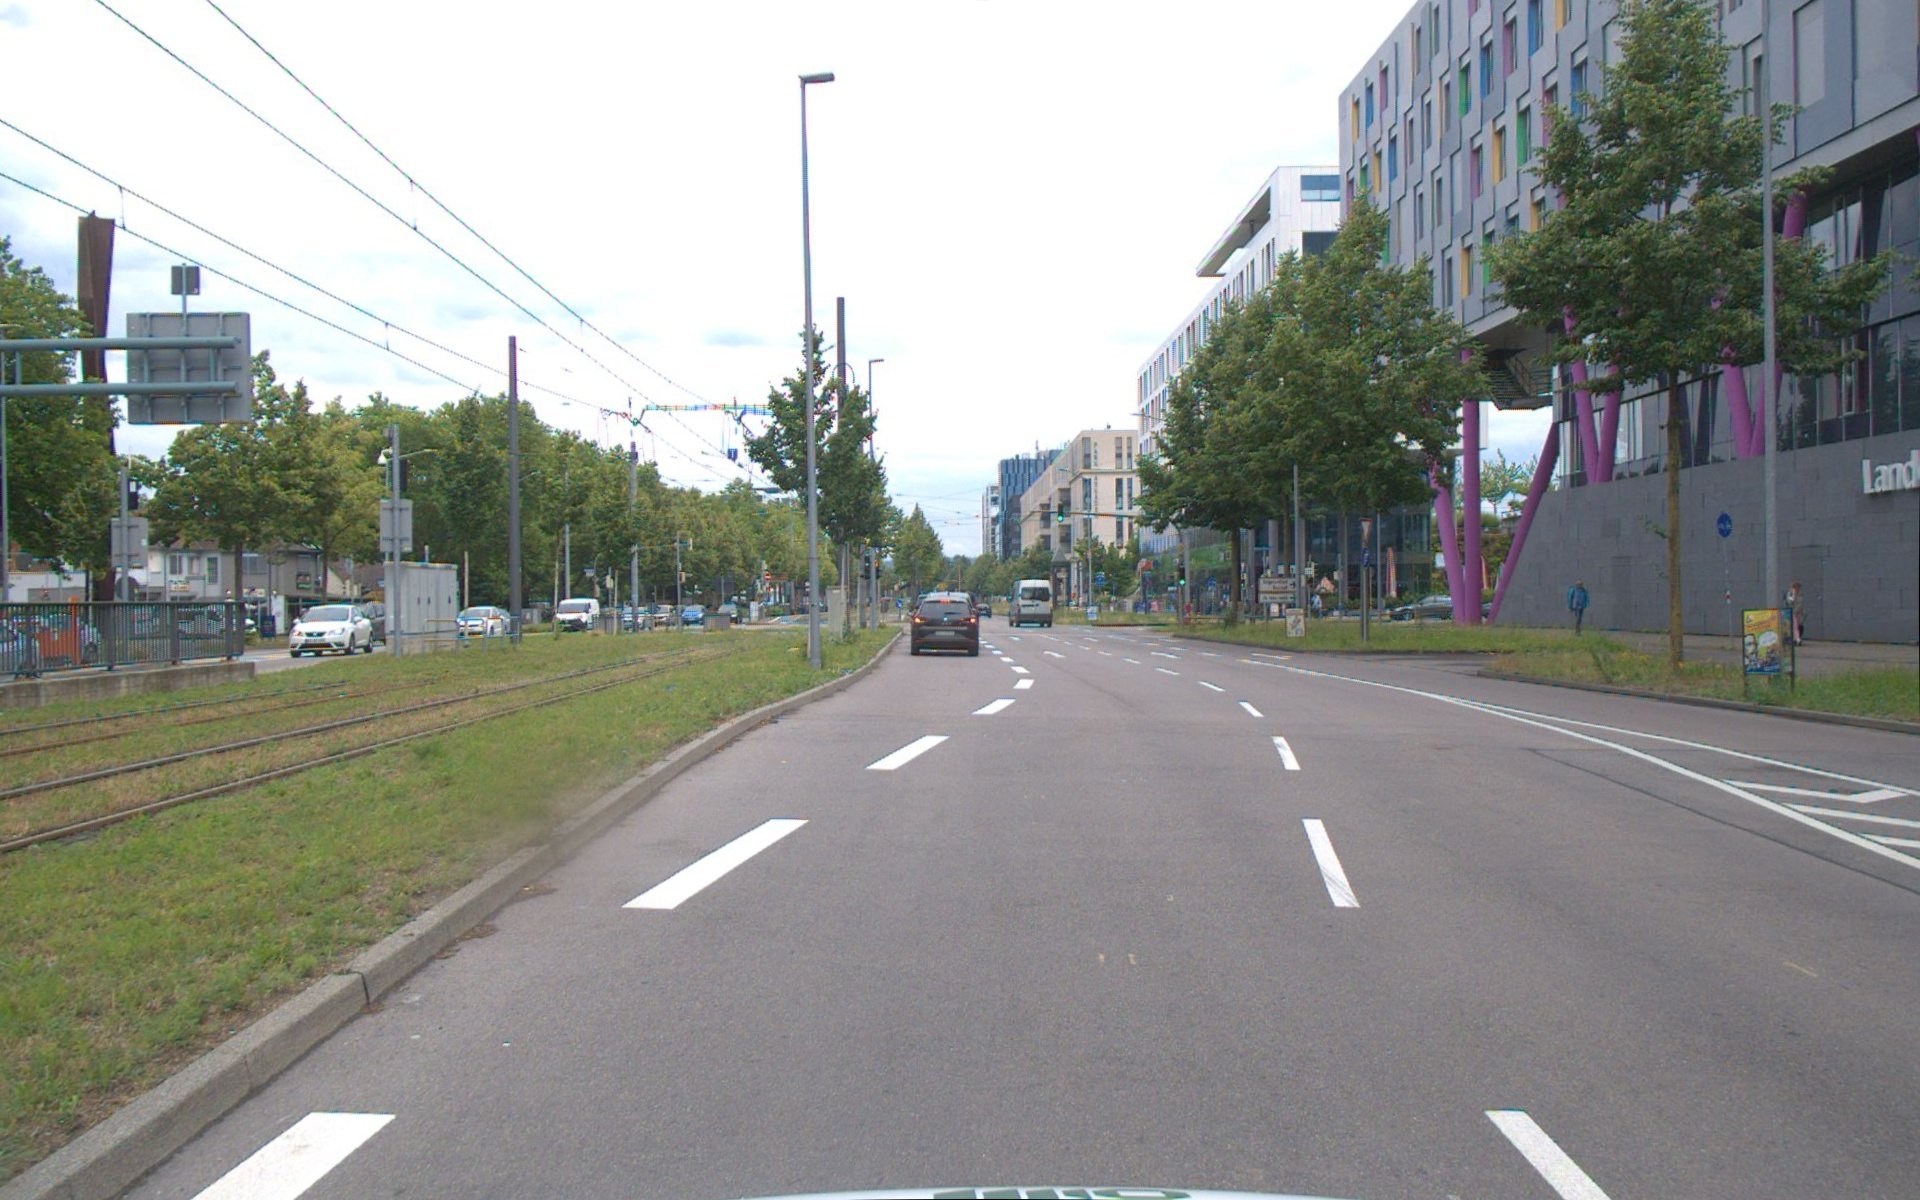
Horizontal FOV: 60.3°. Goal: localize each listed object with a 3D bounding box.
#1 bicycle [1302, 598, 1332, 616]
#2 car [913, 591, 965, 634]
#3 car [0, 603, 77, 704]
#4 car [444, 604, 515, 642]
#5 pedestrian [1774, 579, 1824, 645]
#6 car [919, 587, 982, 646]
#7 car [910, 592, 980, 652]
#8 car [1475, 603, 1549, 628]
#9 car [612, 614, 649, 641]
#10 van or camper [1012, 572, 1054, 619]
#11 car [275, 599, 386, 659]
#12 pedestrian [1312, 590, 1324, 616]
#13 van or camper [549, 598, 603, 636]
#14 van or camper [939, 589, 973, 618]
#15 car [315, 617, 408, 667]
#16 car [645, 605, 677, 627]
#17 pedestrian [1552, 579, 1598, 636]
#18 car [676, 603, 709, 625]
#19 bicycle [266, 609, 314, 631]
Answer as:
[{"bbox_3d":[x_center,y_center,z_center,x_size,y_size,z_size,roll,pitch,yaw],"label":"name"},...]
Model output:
[{"bbox_3d":[22.383,0.464,103.655,1.755,1.104,0.618,-1,0,1],"label":"bicycle"},{"bbox_3d":[-0.821,0.495,67.579,1.952,1.711,4.001,1,0,1],"label":"car"},{"bbox_3d":[-15.864,0.861,25.701,1.746,1.541,4.970,0,1,-2],"label":"car"},{"bbox_3d":[-20.464,0.958,70.580,1.726,1.505,4.572,-2,0,-1],"label":"car"},{"bbox_3d":[20.740,0.286,40.907,0.768,1.610,0.914,-1,0,0],"label":"pedestrian"},{"bbox_3d":[-0.308,0.484,48.787,1.766,1.653,3.999,-1,0,-1],"label":"car"},{"bbox_3d":[-0.421,0.550,42.390,1.708,1.442,3.999,1,0,-2],"label":"car"},{"bbox_3d":[34.105,0.942,102.324,3.996,1.480,1.758,-1,0,1],"label":"car"},{"bbox_3d":[-20.695,1.709,104.074,1.695,1.470,4.917,-3,0,-5],"label":"car"},{"bbox_3d":[3.916,-0.286,89.397,2.066,2.397,4.923,0,2,0],"label":"van or camper"},{"bbox_3d":[-18.086,0.795,47.696,1.956,1.613,4.372,-1,0,-7],"label":"car"},{"bbox_3d":[22.422,0.190,103.651,0.602,1.632,0.619,-1,-1,1],"label":"pedestrian"},{"bbox_3d":[-20.583,0.883,88.800,1.851,1.933,5.122,-2,0,-2],"label":"van or camper"},{"bbox_3d":[-0.220,0.205,98.347,1.953,1.643,4.789,0,1,0],"label":"van or camper"},{"bbox_3d":[-23.951,1.647,66.341,1.953,1.855,4.967,-1,0,-1],"label":"car"},{"bbox_3d":[-23.516,1.282,130.198,1.760,1.598,4.576,2,-1,-3],"label":"car"},{"bbox_3d":[19.593,0.234,52.707,1.030,1.801,1.137,-1,0,0],"label":"pedestrian"},{"bbox_3d":[-20.706,1.068,127.980,1.924,1.616,4.687,0,0,-2],"label":"car"},{"bbox_3d":[-38.284,1.151,94.473,2.478,1.223,0.733,0,0,-27],"label":"bicycle"}]
